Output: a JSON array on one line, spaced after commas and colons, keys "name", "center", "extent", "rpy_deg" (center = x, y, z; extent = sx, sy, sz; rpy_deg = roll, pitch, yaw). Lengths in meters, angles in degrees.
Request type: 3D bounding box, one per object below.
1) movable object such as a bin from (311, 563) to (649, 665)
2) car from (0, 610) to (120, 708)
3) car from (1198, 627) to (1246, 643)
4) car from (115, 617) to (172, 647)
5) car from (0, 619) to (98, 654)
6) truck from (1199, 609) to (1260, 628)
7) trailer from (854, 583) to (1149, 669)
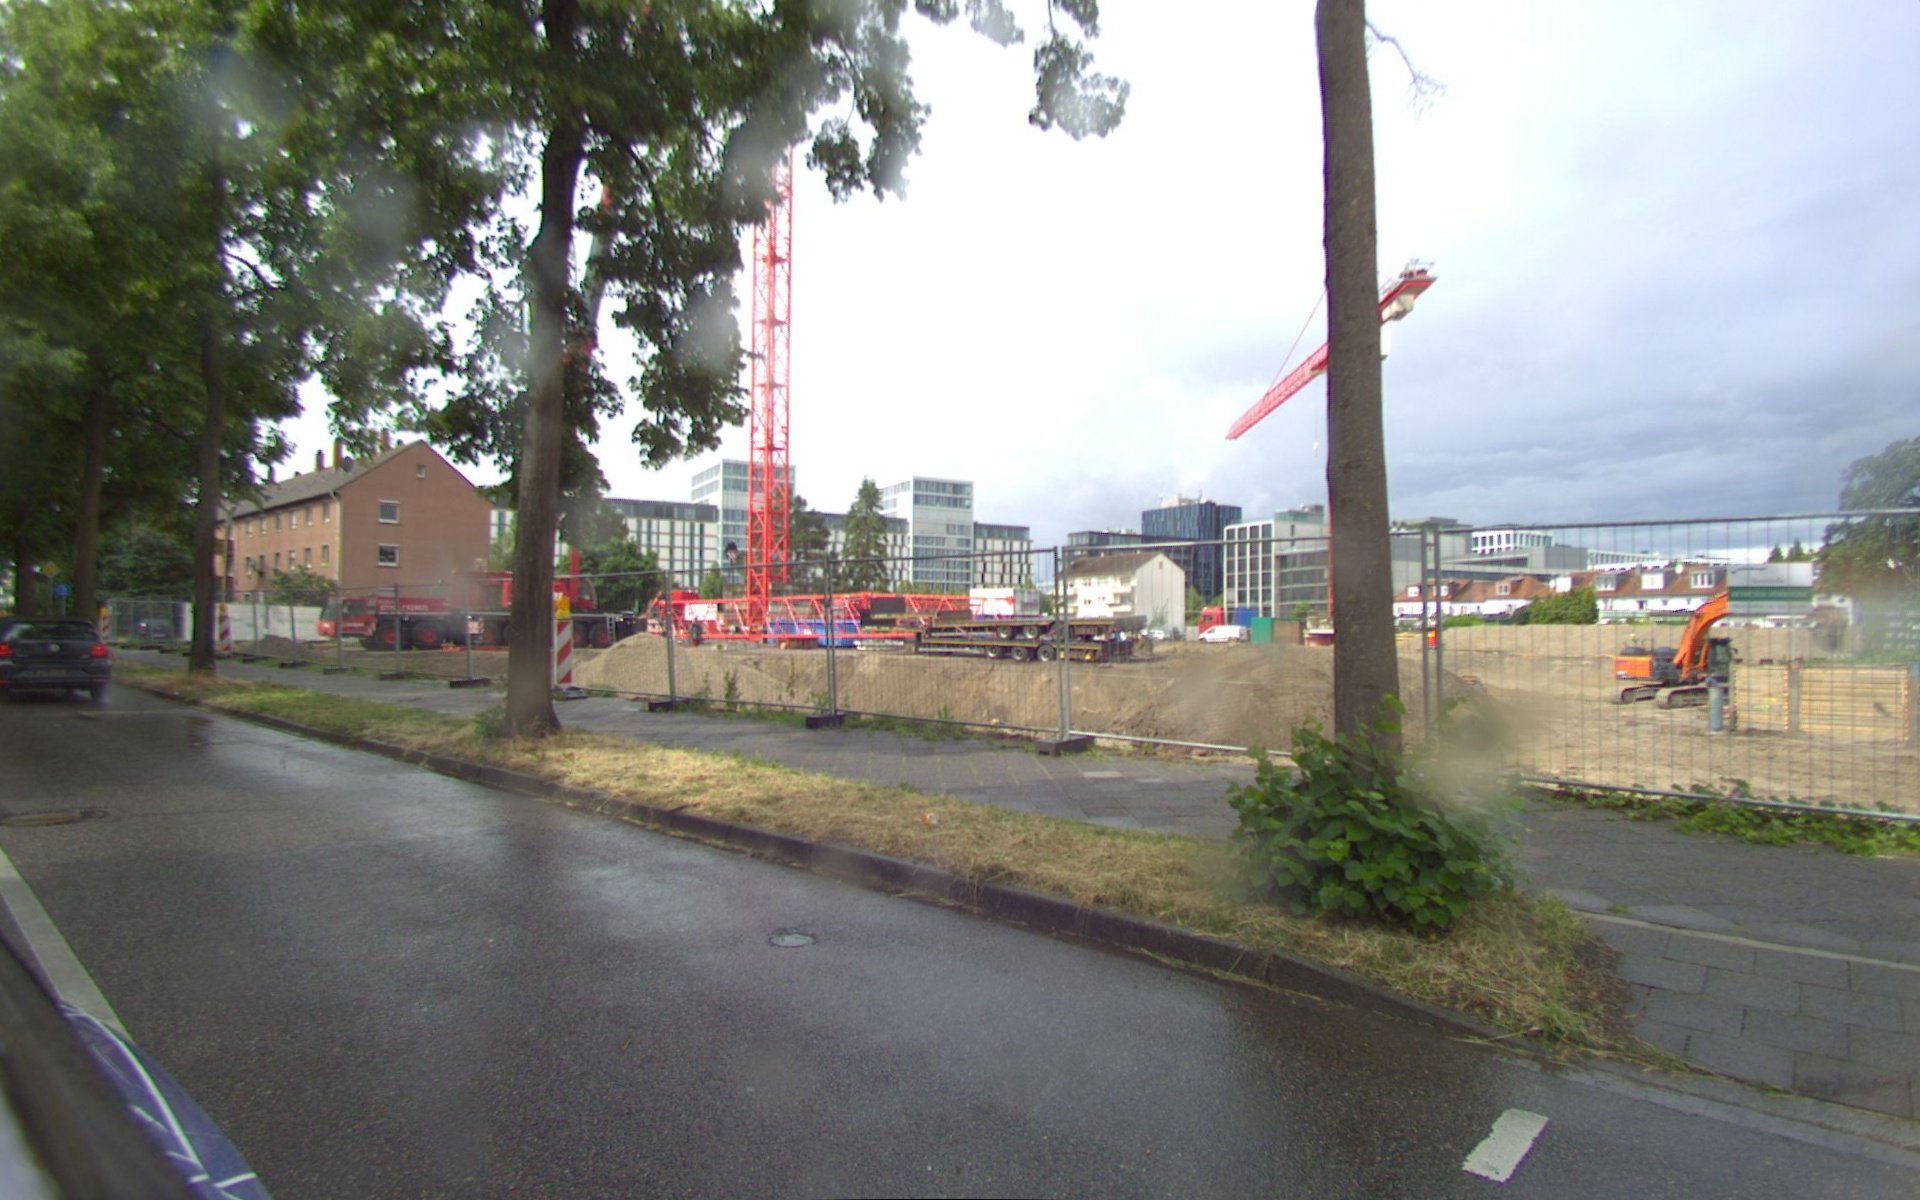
[{"name": "movable object such as a bin", "center": [-24.037, 0.593, 52.293], "extent": [3.102, 4.592, 15.728], "rpy_deg": [0, 0, 44]}, {"name": "car", "center": [-16.282, 1.020, 17.752], "extent": [3.980, 1.552, 1.794], "rpy_deg": [-3, -3, 42]}, {"name": "car", "center": [27.373, 3.681, 105.815], "extent": [4.582, 1.529, 1.797], "rpy_deg": [0, 0, 44]}, {"name": "car", "center": [-45.497, 1.781, 56.391], "extent": [3.996, 1.541, 1.672], "rpy_deg": [0, 0, 39]}, {"name": "car", "center": [-44.993, 1.747, 49.777], "extent": [1.698, 1.563, 3.818], "rpy_deg": [0, 0, 42]}, {"name": "truck", "center": [29.453, 2.000, 110.666], "extent": [6.292, 2.095, 1.884], "rpy_deg": [0, 0, 25]}, {"name": "trailer", "center": [1.320, 1.009, 44.813], "extent": [14.302, 3.257, 2.930], "rpy_deg": [0, 2, 41]}]
